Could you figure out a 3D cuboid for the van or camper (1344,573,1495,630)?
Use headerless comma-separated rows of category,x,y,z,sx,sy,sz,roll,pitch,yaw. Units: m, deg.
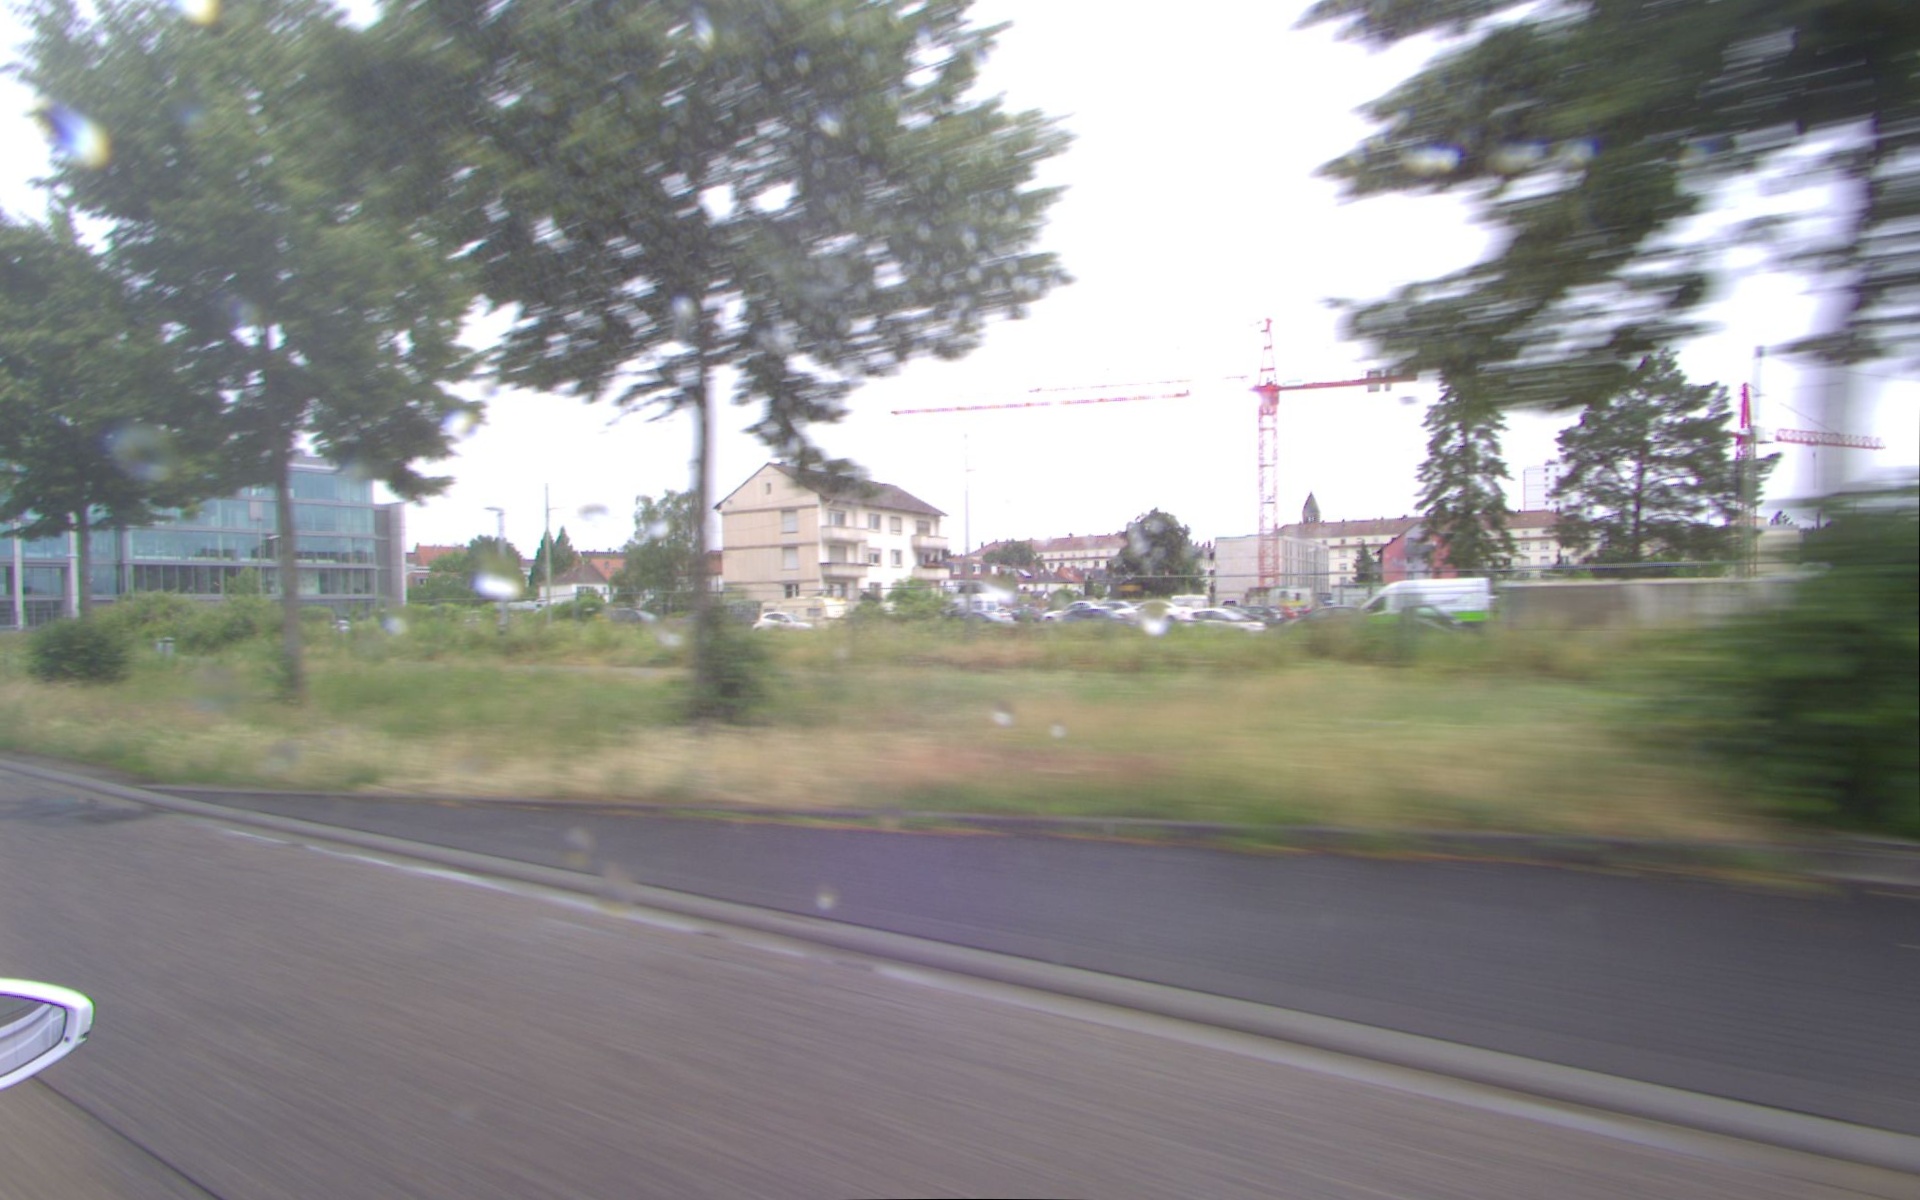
van or camper,21.741,0.122,47.421,6.323,2.569,2.773,-1,-1,30

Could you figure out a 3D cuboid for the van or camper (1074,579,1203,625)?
van or camper,9.770,0.163,55.036,6.549,2.337,2.500,-1,-2,30

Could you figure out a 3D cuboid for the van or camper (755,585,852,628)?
van or camper,-10.418,0.477,66.482,6.301,2.724,2.305,-1,0,30

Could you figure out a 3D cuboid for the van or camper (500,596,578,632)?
van or camper,-37.228,1.239,88.472,6.676,3.033,2.902,-1,0,30

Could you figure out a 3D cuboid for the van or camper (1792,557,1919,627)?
van or camper,32.423,-0.247,34.048,6.056,2.337,2.200,-1,-1,30

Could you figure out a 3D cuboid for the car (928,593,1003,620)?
car,0.397,0.487,73.046,5.127,1.919,2.160,-1,0,29
